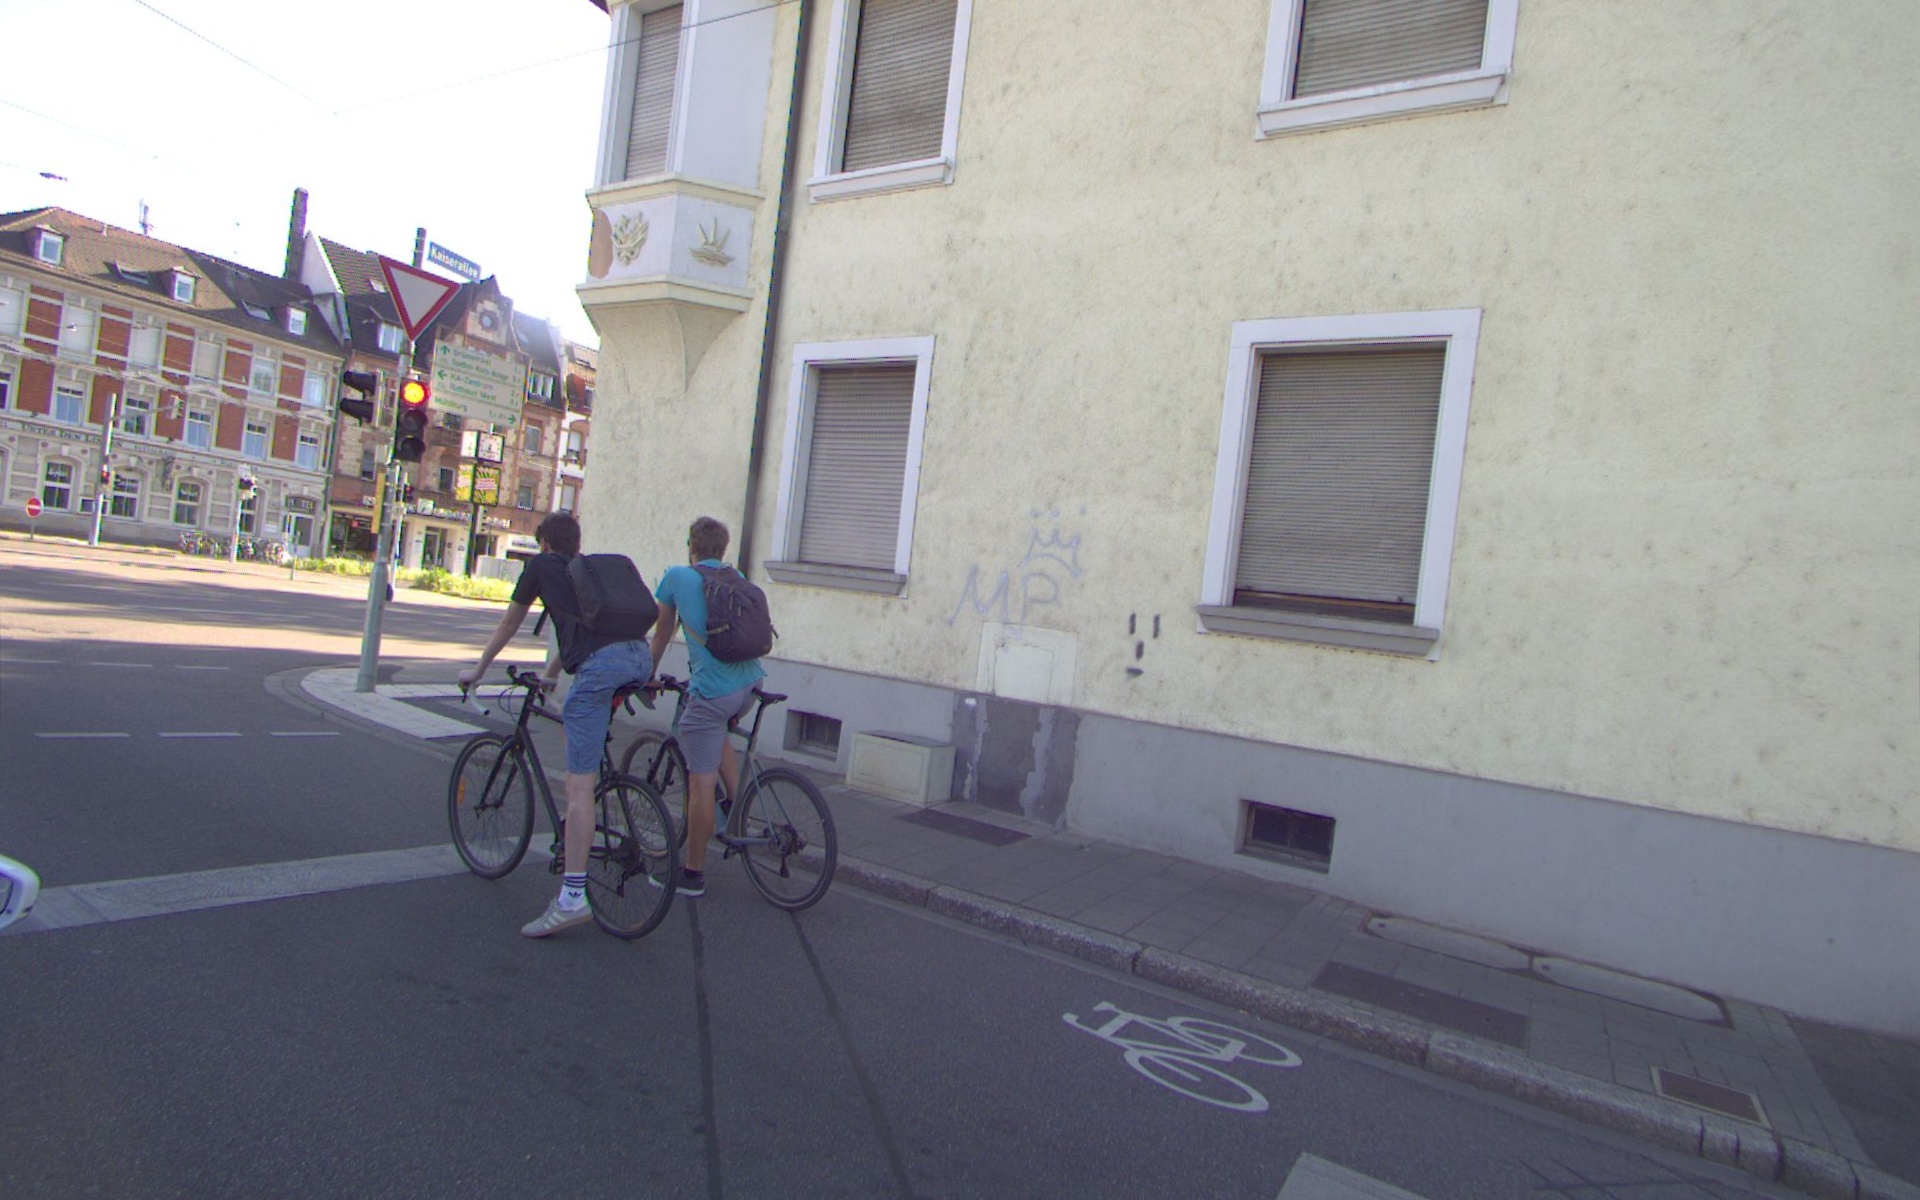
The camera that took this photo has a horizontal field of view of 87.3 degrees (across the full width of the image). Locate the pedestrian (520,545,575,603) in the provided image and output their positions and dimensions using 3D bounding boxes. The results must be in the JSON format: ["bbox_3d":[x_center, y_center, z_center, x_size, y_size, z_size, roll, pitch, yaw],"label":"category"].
[{"bbox_3d":[-16.549,-1.031,40.369,1.285,2.068,1.321,7,0,31],"label":"pedestrian"}]

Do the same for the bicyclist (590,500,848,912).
[{"bbox_3d":[-1.256,0.499,5.238,0.961,1.917,0.602,6,-1,34],"label":"bicyclist"}]

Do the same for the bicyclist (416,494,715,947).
[{"bbox_3d":[-1.789,0.472,4.538,1.083,1.775,0.562,7,0,34],"label":"bicyclist"}]

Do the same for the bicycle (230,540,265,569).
[{"bbox_3d":[-33.660,-2.153,47.503,2.140,1.157,0.618,7,0,37],"label":"bicycle"}]

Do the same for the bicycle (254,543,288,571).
[{"bbox_3d":[-33.096,-2.060,48.307,2.102,1.150,0.609,7,0,37],"label":"bicycle"}]

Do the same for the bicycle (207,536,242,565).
[{"bbox_3d":[-34.193,-2.301,46.751,2.140,1.157,0.618,7,0,37],"label":"bicycle"}]

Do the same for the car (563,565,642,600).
[{"bbox_3d":[-23.153,-1.109,65.312,2.116,1.660,4.340,7,-1,31],"label":"car"}]

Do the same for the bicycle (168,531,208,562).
[{"bbox_3d":[-35.043,-2.438,45.671,2.140,1.157,0.806,7,0,37],"label":"bicycle"}]

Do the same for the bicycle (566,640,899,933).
[{"bbox_3d":[-1.240,0.885,5.273,1.784,1.130,0.519,7,0,34],"label":"bicycle"}]

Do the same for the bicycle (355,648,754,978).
[{"bbox_3d":[-1.900,0.854,4.584,1.897,1.023,0.645,7,0,34],"label":"bicycle"}]

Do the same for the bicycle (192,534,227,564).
[{"bbox_3d":[-34.528,-2.349,46.274,2.140,1.157,0.618,7,0,37],"label":"bicycle"}]
